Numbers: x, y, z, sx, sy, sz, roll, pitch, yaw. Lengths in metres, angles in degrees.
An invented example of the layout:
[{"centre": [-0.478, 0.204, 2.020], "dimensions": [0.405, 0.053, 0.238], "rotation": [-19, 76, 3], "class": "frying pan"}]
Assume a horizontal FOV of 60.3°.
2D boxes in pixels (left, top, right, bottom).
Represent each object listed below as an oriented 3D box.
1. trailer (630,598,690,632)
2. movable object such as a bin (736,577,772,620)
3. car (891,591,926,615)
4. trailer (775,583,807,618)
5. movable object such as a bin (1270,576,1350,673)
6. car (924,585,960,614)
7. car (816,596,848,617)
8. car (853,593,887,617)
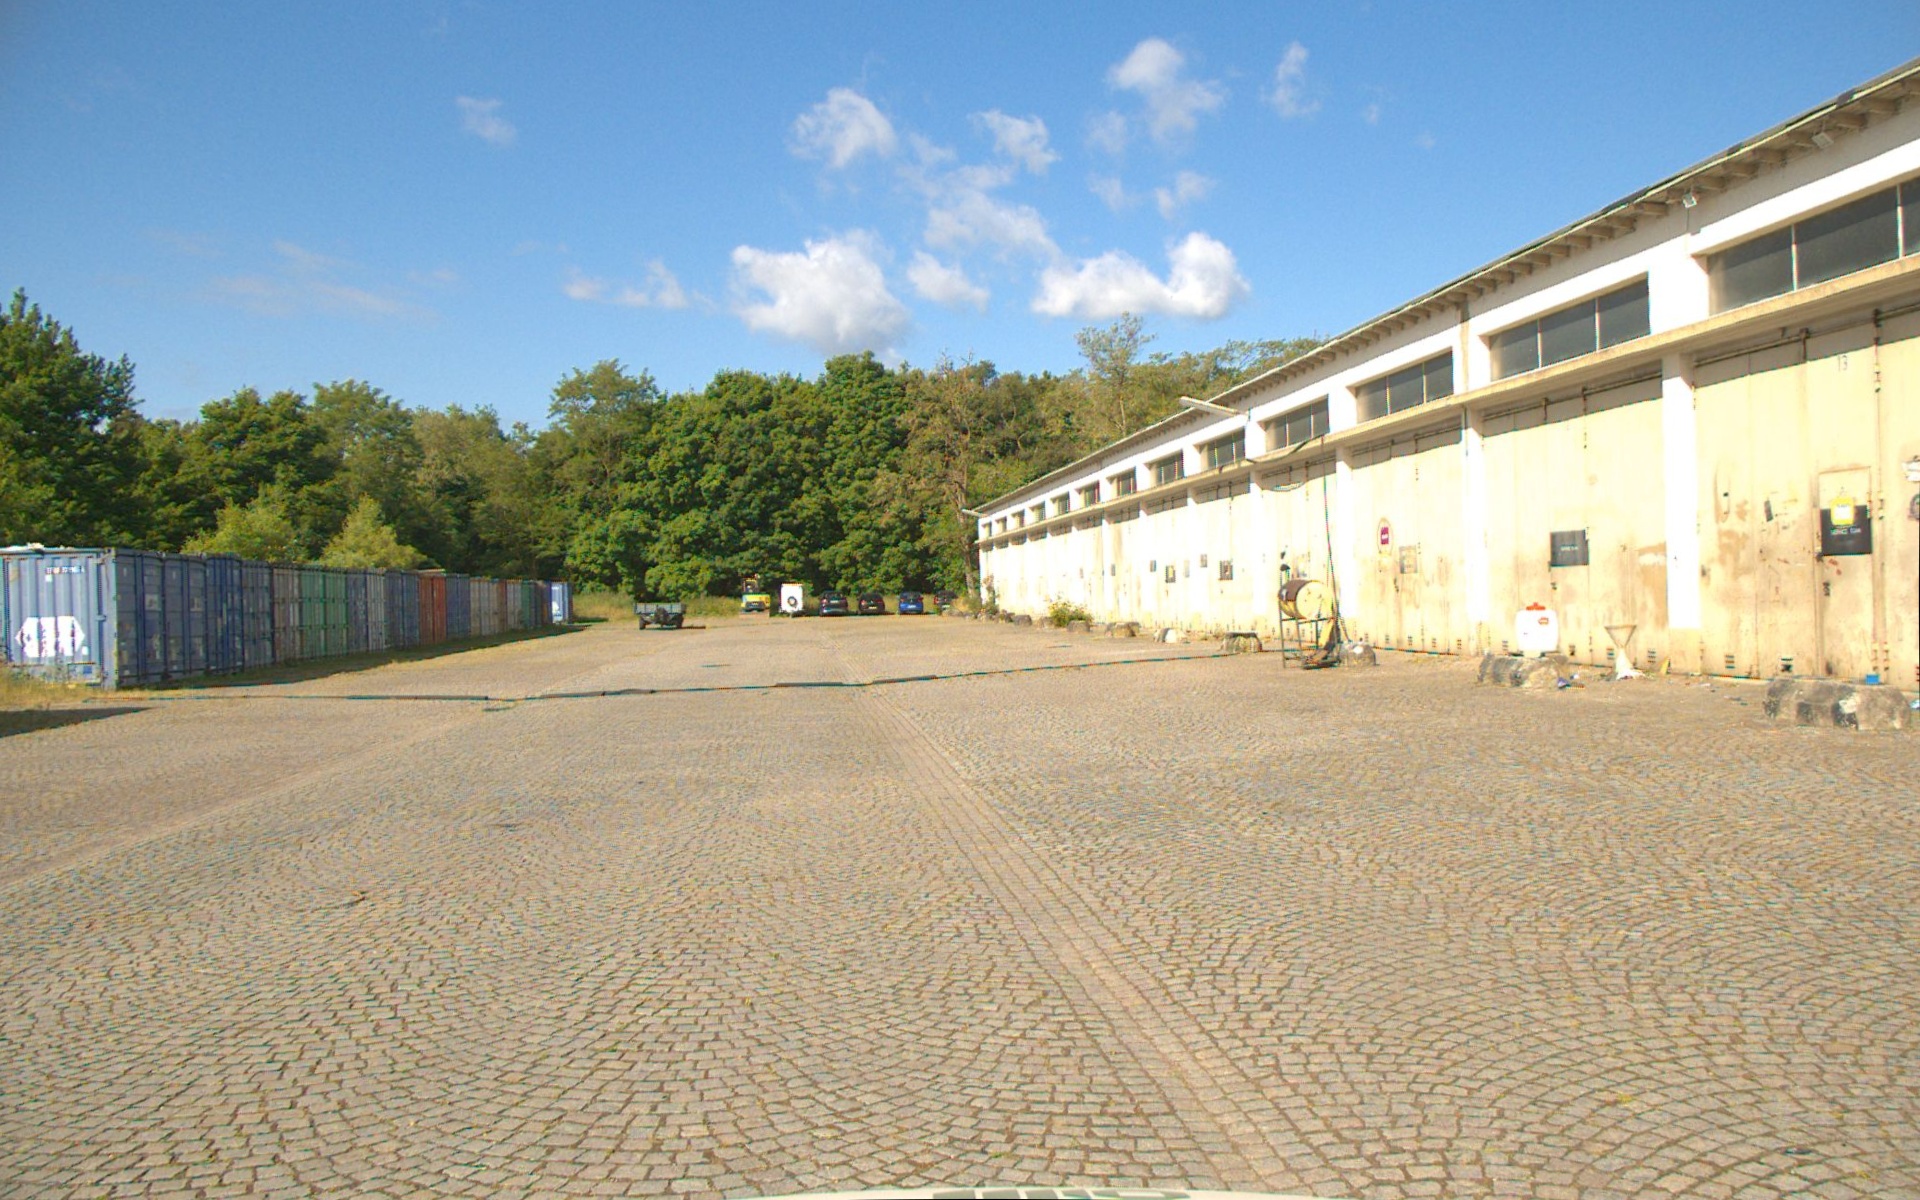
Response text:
[{"centre": [-16.104, 0.763, 89.086], "dimensions": [2.738, 1.675, 5.612], "rotation": [-2, 0, -7], "class": "trailer"}, {"centre": [-13.550, -0.099, 108.785], "dimensions": [2.190, 2.703, 3.992], "rotation": [-2, 0, -8], "class": "movable object such as a bin"}, {"centre": [-3.372, 0.170, 108.296], "dimensions": [1.955, 1.491, 3.995], "rotation": [-2, 0, -6], "class": "car"}, {"centre": [-11.065, 0.030, 108.304], "dimensions": [1.955, 2.200, 4.425], "rotation": [-2, 0, -6], "class": "trailer"}, {"centre": [5.345, 0.366, 25.314], "dimensions": [0.858, 1.426, 1.100], "rotation": [-2, 0, -7], "class": "movable object such as a bin"}, {"centre": [-1.203, -0.040, 109.792], "dimensions": [1.955, 1.803, 3.995], "rotation": [-2, 0, -6], "class": "car"}, {"centre": [-8.320, 0.420, 107.373], "dimensions": [1.955, 1.280, 3.995], "rotation": [-2, 0, -6], "class": "car"}, {"centre": [-5.896, 0.303, 108.022], "dimensions": [1.955, 1.449, 3.995], "rotation": [-2, 0, -6], "class": "car"}]
